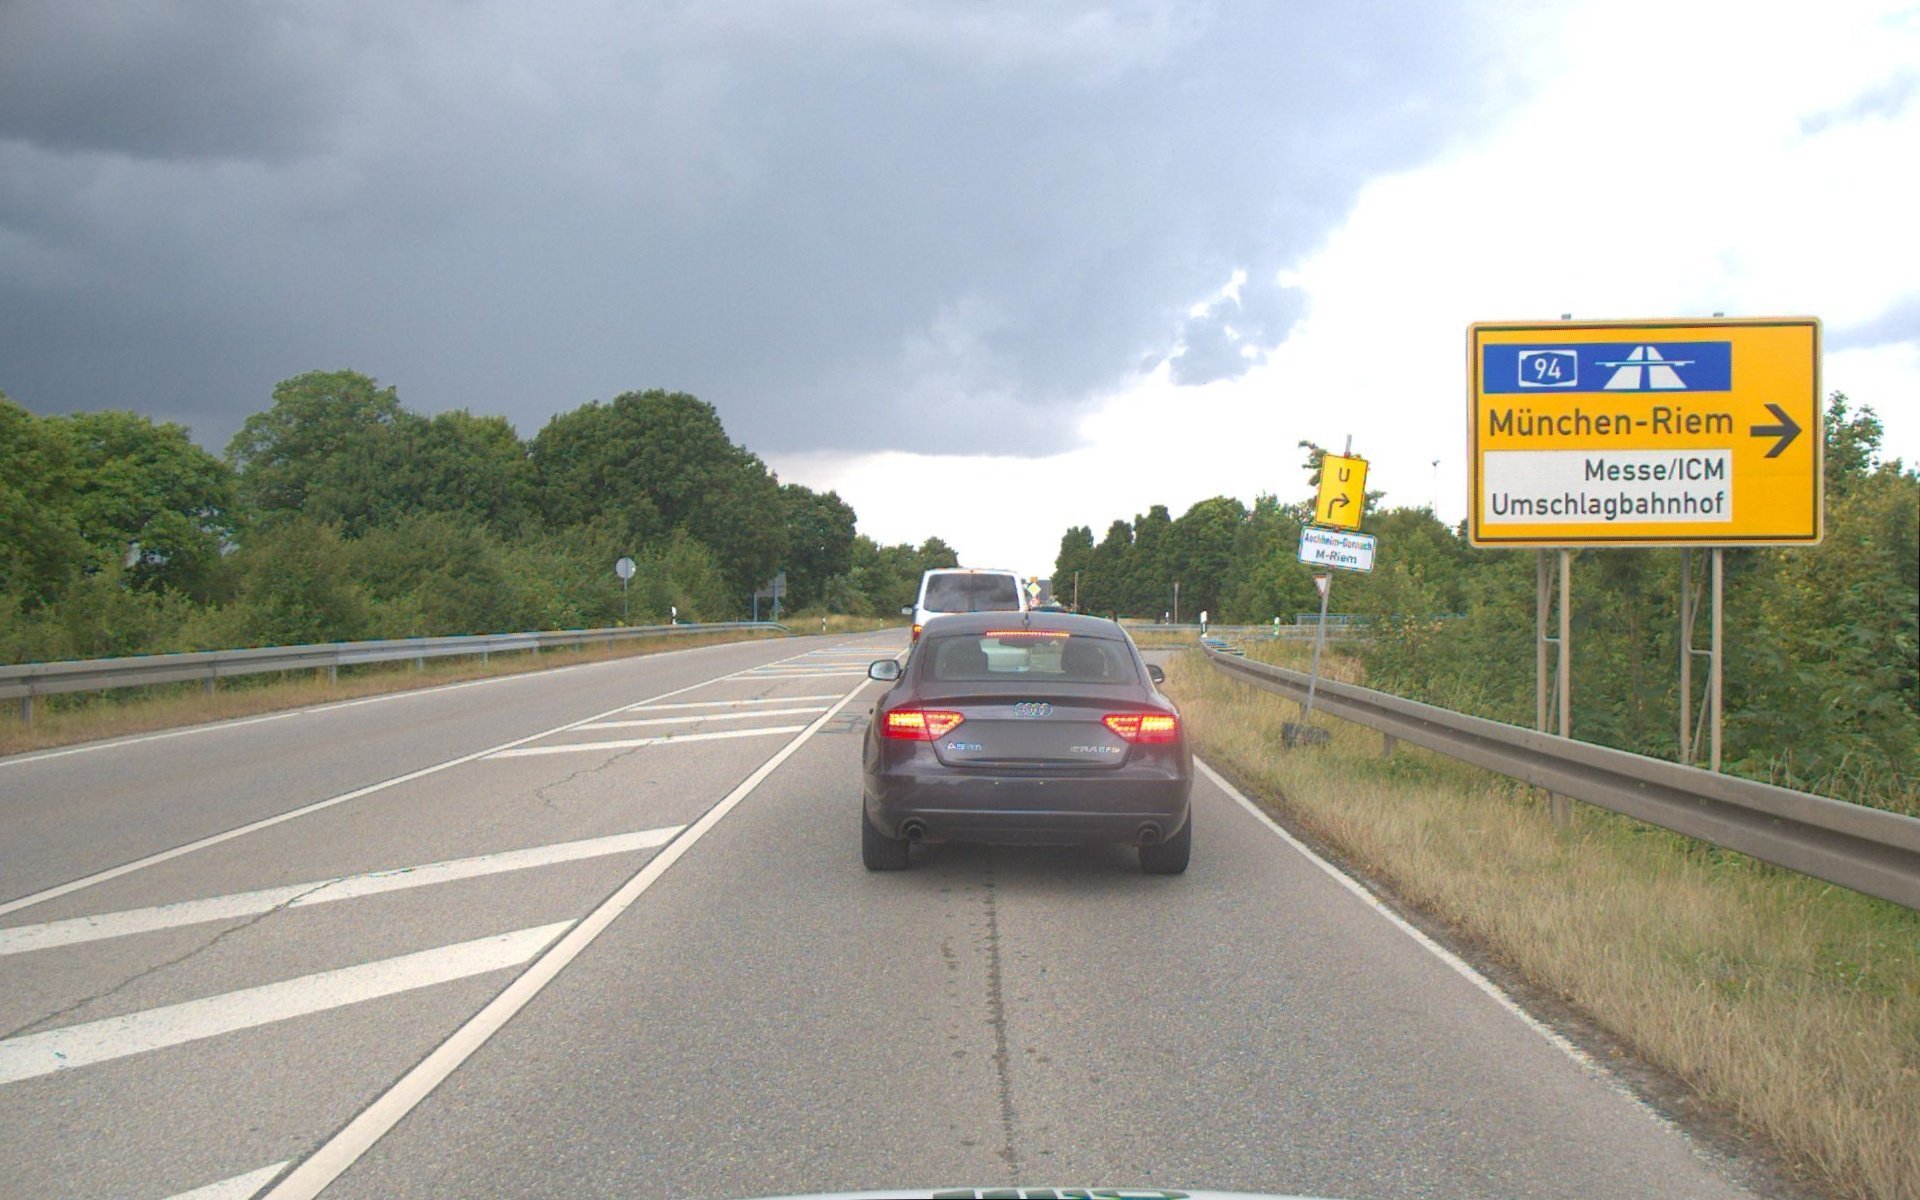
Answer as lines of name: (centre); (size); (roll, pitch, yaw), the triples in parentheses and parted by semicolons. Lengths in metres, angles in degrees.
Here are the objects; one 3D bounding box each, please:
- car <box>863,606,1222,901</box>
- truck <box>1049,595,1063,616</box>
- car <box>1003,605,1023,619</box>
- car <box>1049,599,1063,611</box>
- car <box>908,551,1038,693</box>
car: (0.381, 0.755, 9.731); (1.743, 1.423, 3.336); (0, 0, -1)
truck: (13.738, 0.733, 237.534); (1.952, 2.969, 5.795); (1, 0, 3)
car: (6.515, 1.432, 203.747); (2.161, 1.610, 4.378); (1, 0, -1)
car: (14.836, 0.795, 256.059); (1.952, 1.722, 4.001); (1, 0, 2)
car: (0.175, 0.312, 26.204); (1.871, 2.049, 4.000); (1, 0, -1)
